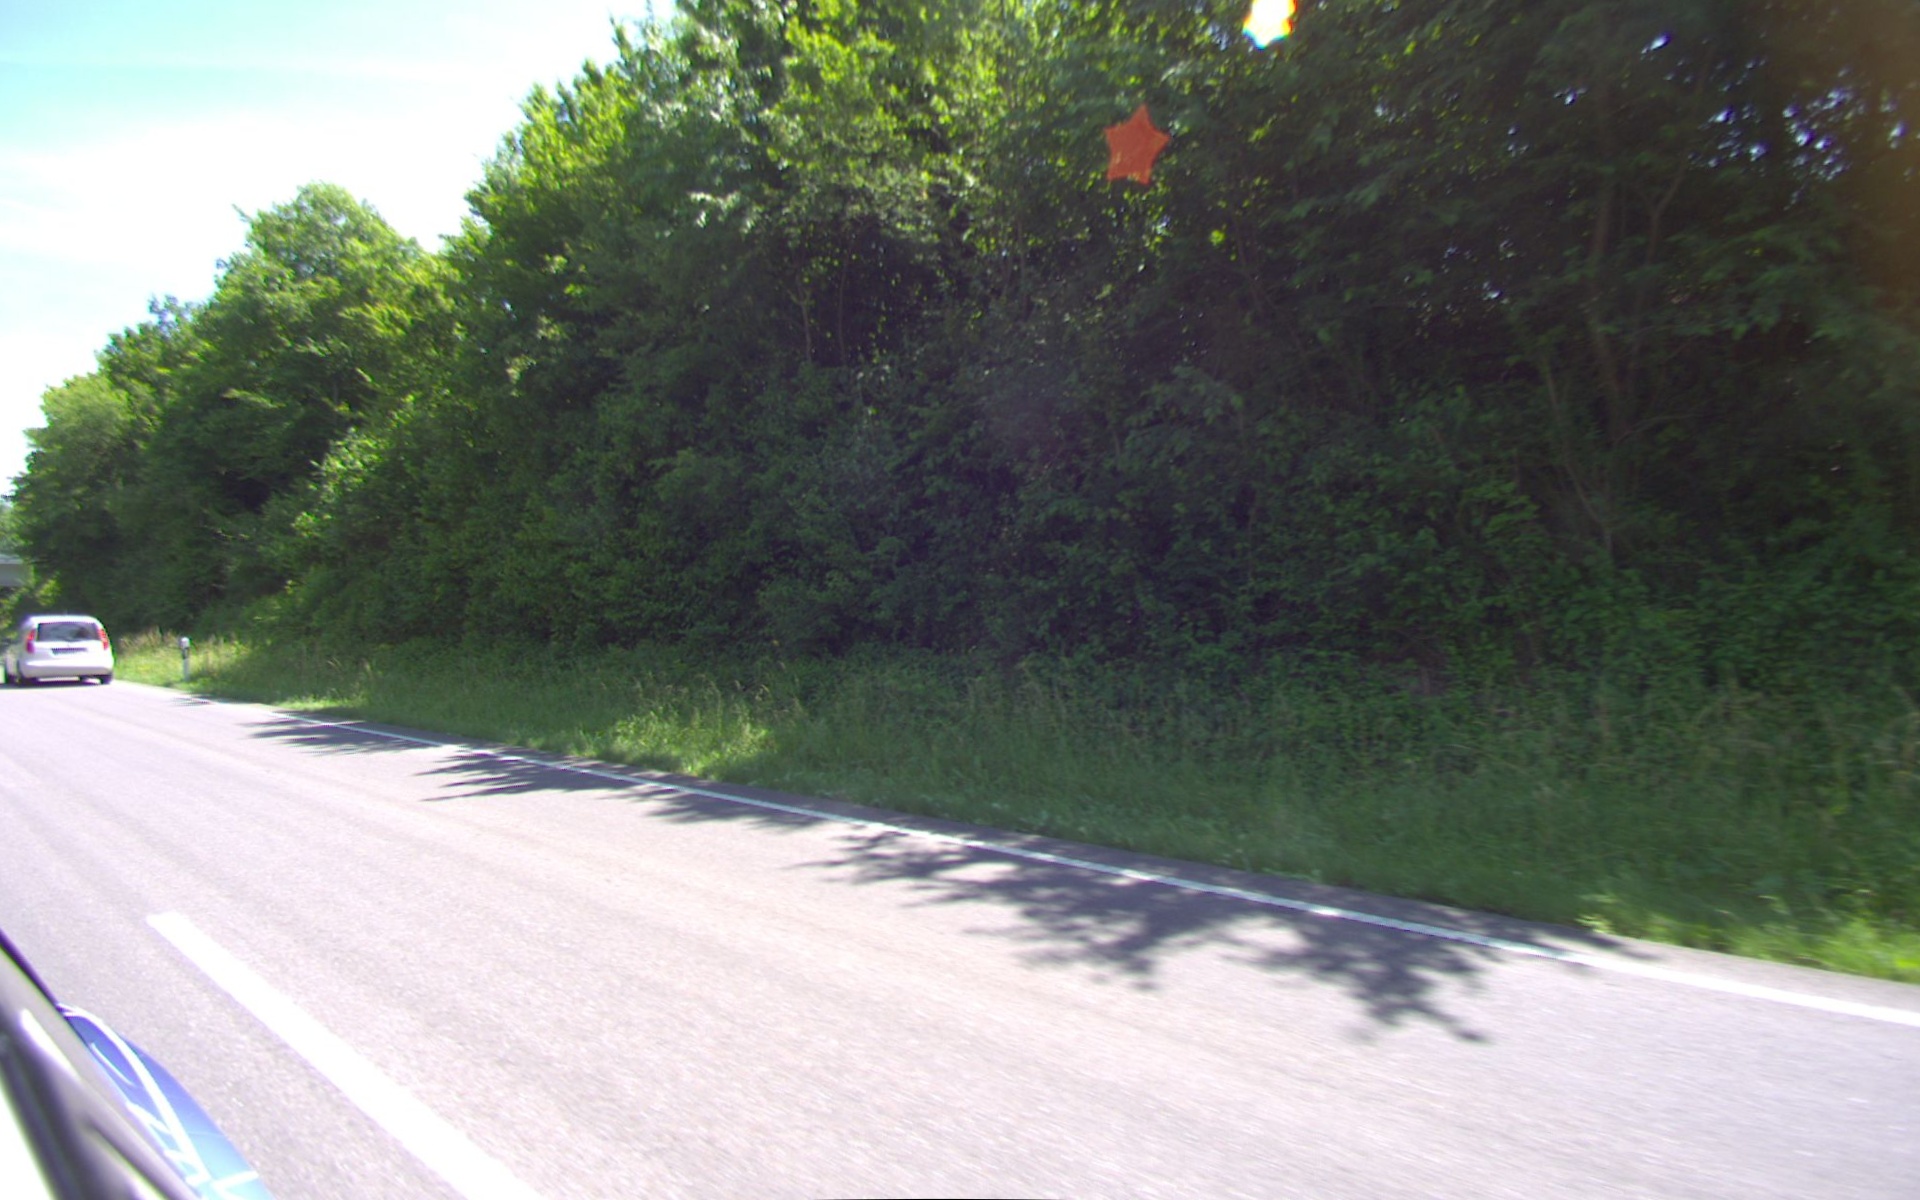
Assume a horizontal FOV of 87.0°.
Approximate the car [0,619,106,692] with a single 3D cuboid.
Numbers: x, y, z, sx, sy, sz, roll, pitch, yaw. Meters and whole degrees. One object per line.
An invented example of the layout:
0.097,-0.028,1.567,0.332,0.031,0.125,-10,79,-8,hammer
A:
-21.635,1.268,24.056,3.791,1.604,1.496,-2,-2,42,car
